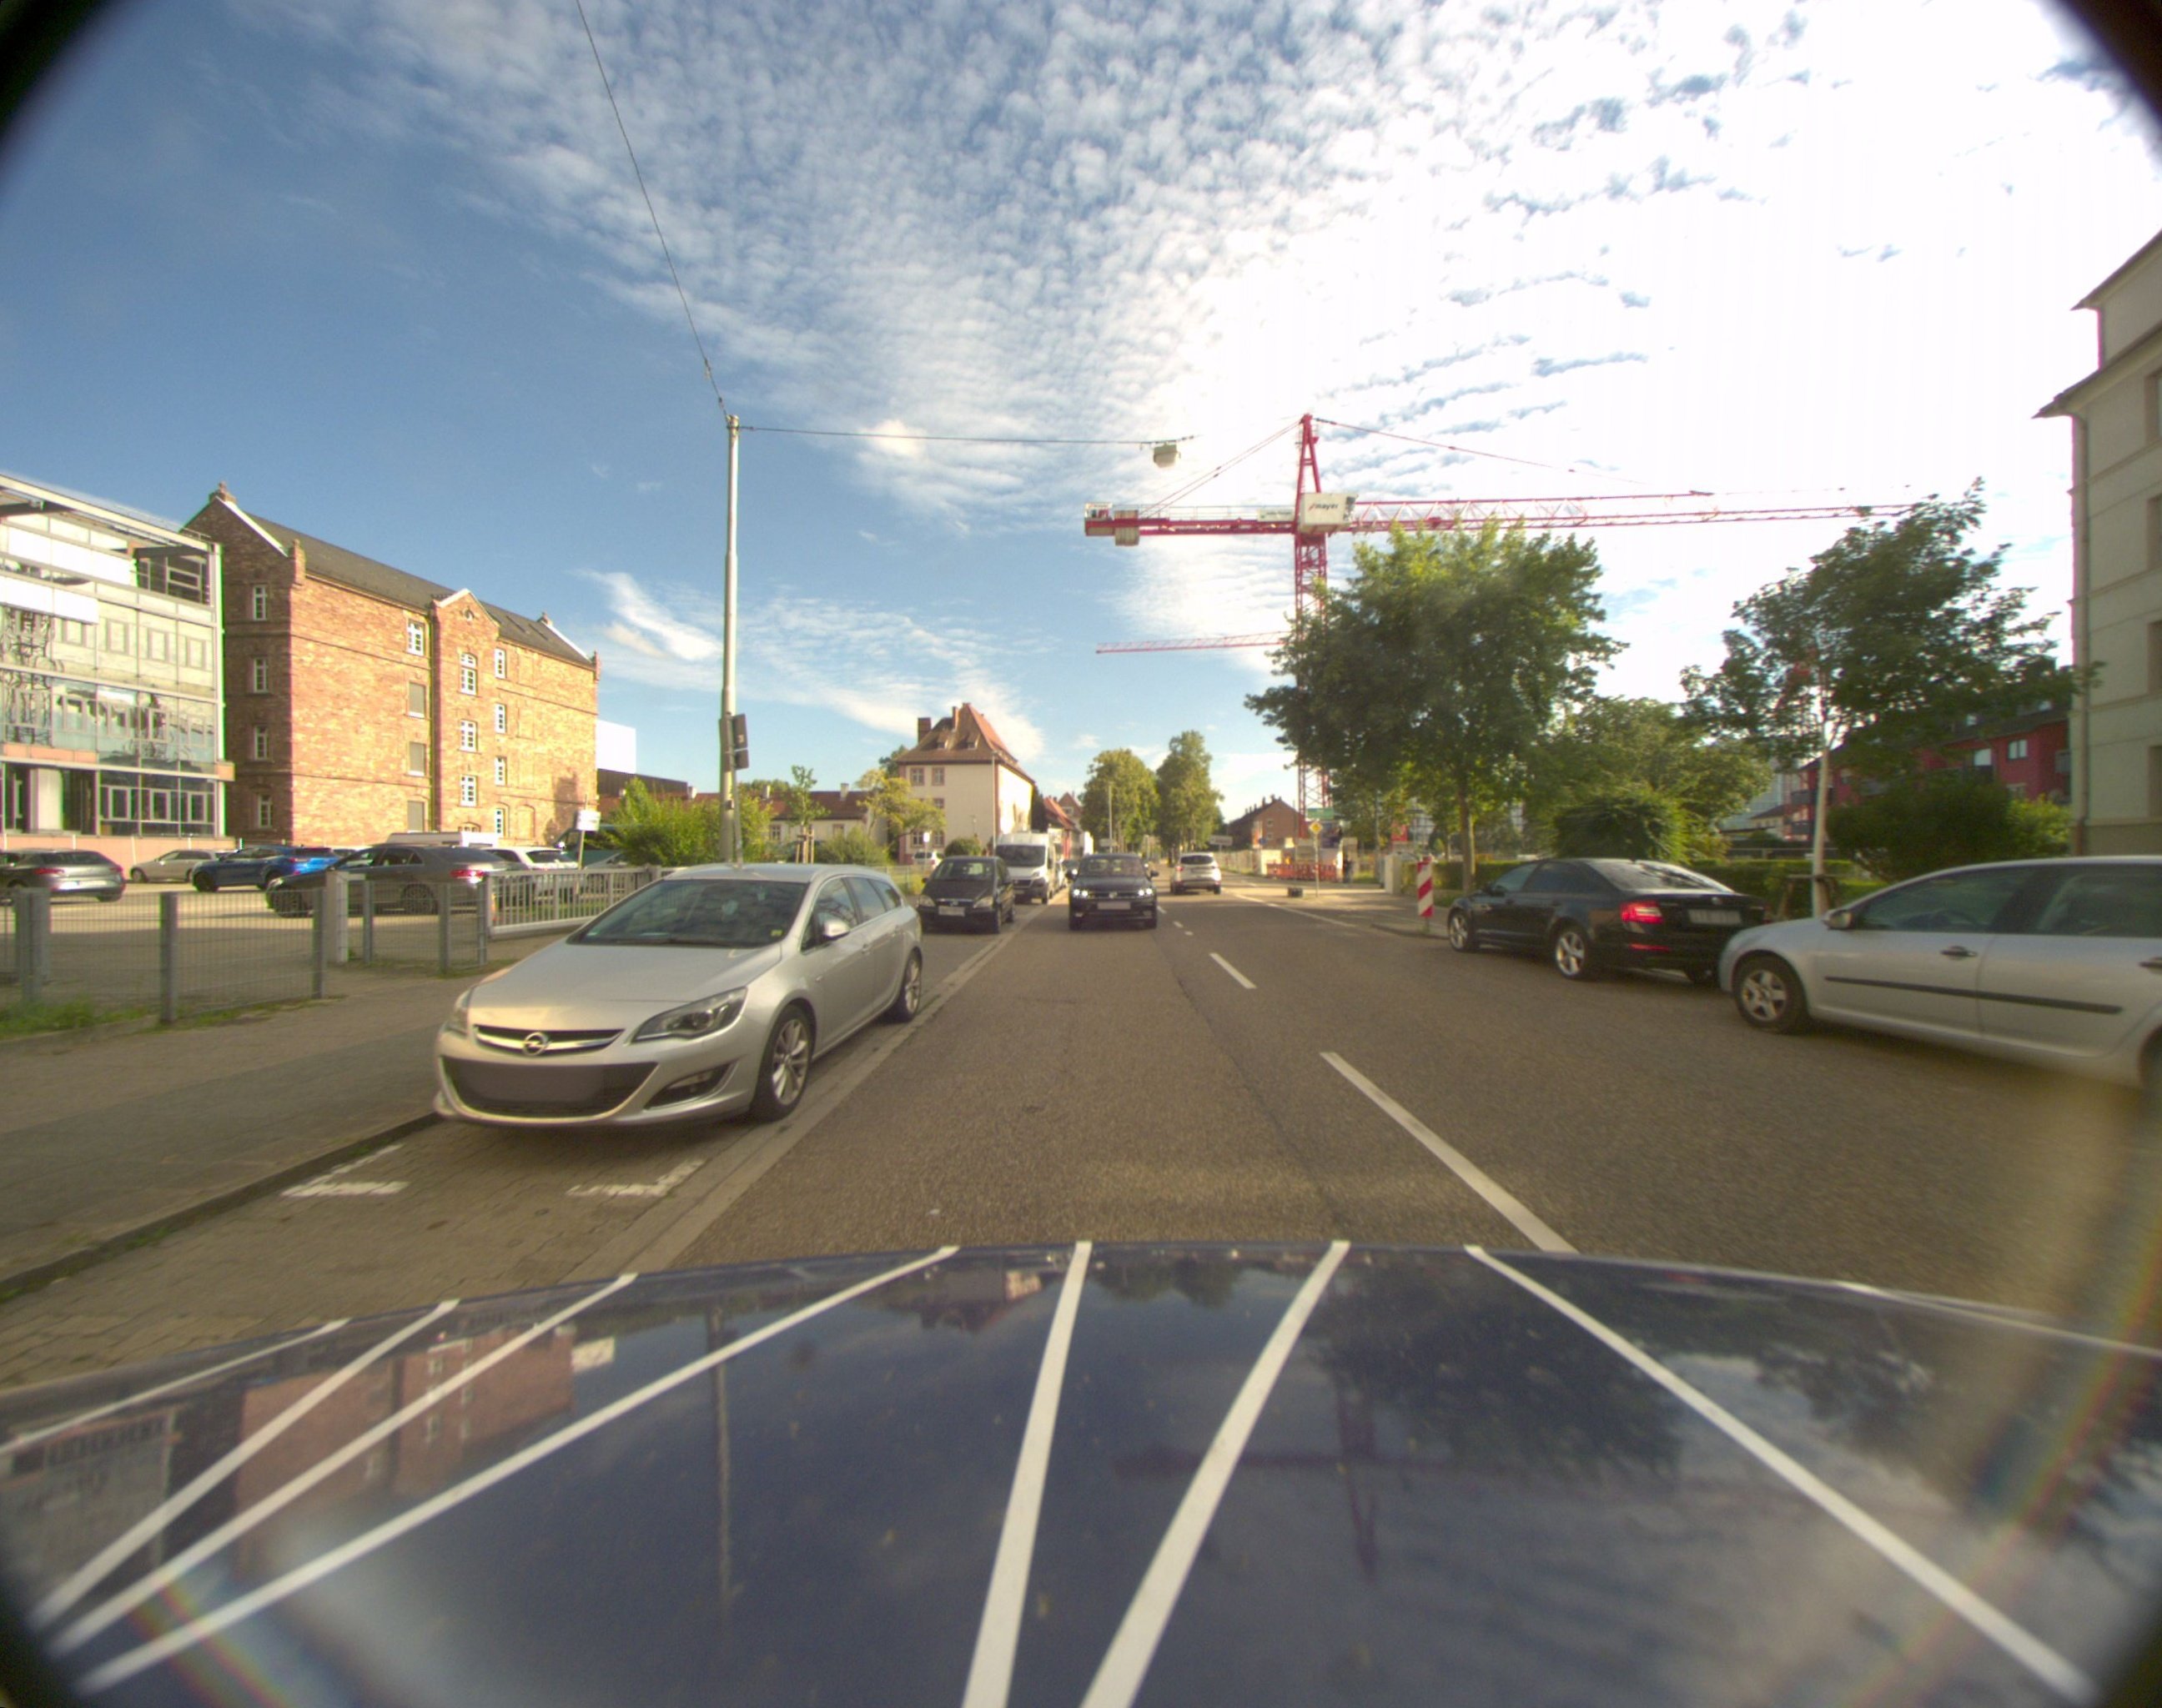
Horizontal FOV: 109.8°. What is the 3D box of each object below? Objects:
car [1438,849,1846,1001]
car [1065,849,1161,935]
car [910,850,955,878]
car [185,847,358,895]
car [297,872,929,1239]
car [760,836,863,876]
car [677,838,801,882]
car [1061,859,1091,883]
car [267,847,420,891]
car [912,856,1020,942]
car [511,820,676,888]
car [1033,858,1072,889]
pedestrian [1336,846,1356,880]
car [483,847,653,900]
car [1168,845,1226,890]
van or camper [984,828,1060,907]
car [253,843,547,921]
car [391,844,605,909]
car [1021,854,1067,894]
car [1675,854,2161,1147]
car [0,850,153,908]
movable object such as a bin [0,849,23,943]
[{"bbox_3d":[6.612,0.704,9.760,1.932,1.477,4.420,1,0,0],"label":"car"},{"bbox_3d":[0.769,0.763,17.146,1.859,1.673,4.001,-2,0,4],"label":"car"},{"bbox_3d":[-9.696,0.636,49.872,1.888,1.709,4.092,0,0,4],"label":"car"},{"bbox_3d":[-26.486,0.539,24.910,4.084,1.473,1.872,-1,0,9],"label":"car"},{"bbox_3d":[-2.545,0.944,5.566,1.767,1.515,4.330,0,0,3],"label":"car"},{"bbox_3d":[-11.760,0.093,33.326,3.793,1.649,1.872,-1,0,9],"label":"car"},{"bbox_3d":[-12.771,0.235,28.489,3.793,1.555,1.872,-1,0,11],"label":"car"},{"bbox_3d":[-0.304,1.053,48.842,1.662,1.477,4.001,0,0,4],"label":"car"},{"bbox_3d":[-26.804,0.539,27.676,4.084,1.494,1.872,-1,0,9],"label":"car"},{"bbox_3d":[-2.397,0.889,16.811,1.677,1.593,3.970,2,0,1],"label":"car"},{"bbox_3d":[-16.752,0.000,26.255,4.275,2.179,2.368,-1,0,9],"label":"car"},{"bbox_3d":[-1.442,0.962,39.714,1.662,1.477,4.001,2,0,3],"label":"car"},{"bbox_3d":[13.940,0.470,39.971,0.743,1.758,0.775,0,1,0],"label":"pedestrian"},{"bbox_3d":[-15.363,0.570,22.844,4.084,1.473,1.872,-1,0,11],"label":"car"},{"bbox_3d":[4.654,0.513,30.973,1.834,1.659,4.084,-2,0,2],"label":"car"},{"bbox_3d":[-2.002,0.445,27.859,2.165,2.512,5.914,2,0,1],"label":"van or camper"},{"bbox_3d":[-13.987,0.560,15.752,4.675,1.473,1.871,-1,0,7],"label":"car"},{"bbox_3d":[-14.206,0.531,18.610,4.084,1.473,1.872,-1,0,11],"label":"car"},{"bbox_3d":[-1.631,0.858,34.815,1.677,1.639,4.205,2,0,3],"label":"car"},{"bbox_3d":[6.415,0.761,4.885,1.825,1.477,4.369,1,0,2],"label":"car"},{"bbox_3d":[-27.042,0.628,19.737,4.084,1.410,1.872,-1,0,9],"label":"car"},{"bbox_3d":[-16.629,0.631,11.062,0.878,1.409,1.110,0,1,3],"label":"movable object such as a bin"}]
